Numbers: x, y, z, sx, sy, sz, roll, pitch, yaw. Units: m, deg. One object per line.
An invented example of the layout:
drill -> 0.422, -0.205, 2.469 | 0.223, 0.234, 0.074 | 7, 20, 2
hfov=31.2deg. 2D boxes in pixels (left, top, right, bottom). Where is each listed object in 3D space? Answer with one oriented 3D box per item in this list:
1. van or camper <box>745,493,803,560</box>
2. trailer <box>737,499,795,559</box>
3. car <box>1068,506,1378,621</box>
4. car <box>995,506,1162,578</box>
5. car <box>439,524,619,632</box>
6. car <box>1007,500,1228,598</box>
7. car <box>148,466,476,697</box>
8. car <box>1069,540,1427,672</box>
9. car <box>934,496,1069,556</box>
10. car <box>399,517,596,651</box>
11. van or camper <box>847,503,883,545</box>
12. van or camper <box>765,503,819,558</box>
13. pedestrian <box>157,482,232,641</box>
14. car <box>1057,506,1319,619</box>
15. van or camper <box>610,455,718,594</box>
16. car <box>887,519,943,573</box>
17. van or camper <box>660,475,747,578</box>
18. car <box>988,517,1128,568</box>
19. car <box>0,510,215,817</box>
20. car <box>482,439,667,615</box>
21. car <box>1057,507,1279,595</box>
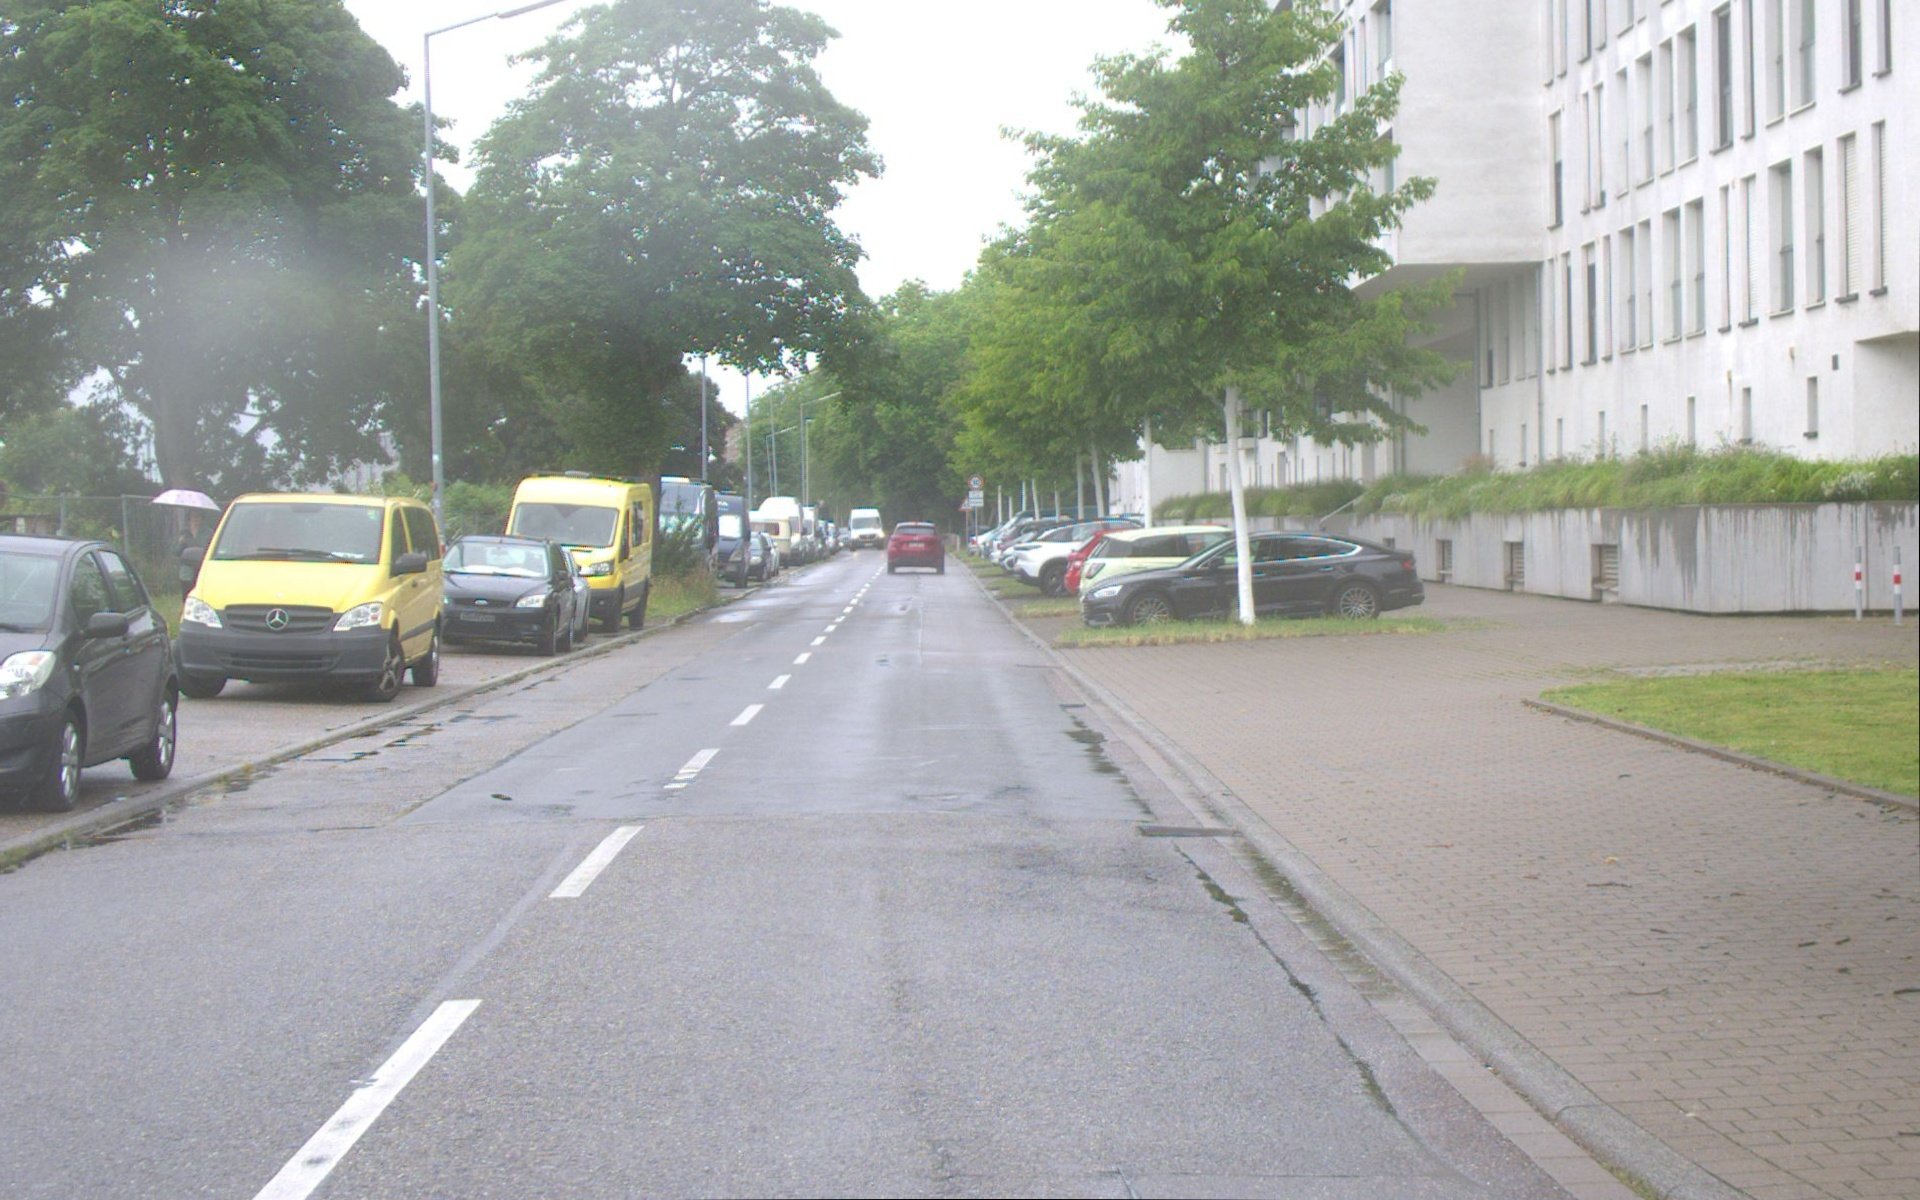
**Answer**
van or camper -> -7.822, -3.086, 145.264 | 1.993, 2.752, 7.899 | 1, 1, 0
trailer -> -7.397, -2.710, 131.360 | 2.058, 2.210, 5.795 | 1, 1, -2
car -> 3.950, -0.555, 52.146 | 4.487, 1.476, 1.692 | -3, 1, 0
car -> 3.310, -1.643, 96.795 | 4.476, 1.681, 1.936 | -4, 2, -2
car -> -6.244, -0.346, 50.381 | 2.010, 1.429, 5.340 | 2, 1, -1
car -> 3.416, -1.109, 75.084 | 4.539, 1.679, 1.886 | -6, 1, -3
car -> -6.026, -0.211, 32.746 | 2.017, 1.949, 6.065 | 1, 1, -1
car -> 3.839, 0.066, 46.371 | 4.570, 1.492, 1.826 | -3, 1, -1
car -> 1.447, -2.624, 121.896 | 4.617, 2.012, 1.859 | -1, 3, -5
car -> -5.984, -0.238, 45.048 | 1.993, 1.588, 5.018 | 2, 1, -2
van or camper -> -5.885, -4.707, 213.875 | 1.993, 2.488, 7.178 | -1, 1, 0
van or camper -> -7.698, -3.174, 158.070 | 2.189, 2.453, 6.377 | 1, 1, 0
pedestrian -> -9.829, -0.501, 44.183 | 0.742, 2.007, 0.980 | 0, 1, 0
car -> 3.599, -0.606, 54.808 | 3.987, 1.550, 1.635 | -3, 1, 0
van or camper -> -6.935, -1.744, 81.137 | 2.094, 3.083, 6.425 | 2, 1, -2
car -> -1.442, -1.724, 111.456 | 1.756, 1.700, 4.000 | -1, 0, 0
van or camper -> -7.176, -2.040, 96.994 | 2.094, 2.706, 7.575 | 2, 1, -2
car -> 3.103, -1.838, 109.127 | 4.298, 1.423, 1.637 | -2, 1, -2
car -> -5.708, 0.275, 20.087 | 1.804, 1.556, 4.033 | 2, 2, 0
car -> -6.285, -1.199, 56.741 | 2.192, 2.685, 6.081 | 2, 1, 1
car -> 3.893, -0.919, 64.904 | 3.987, 1.446, 1.821 | -3, 0, -1
